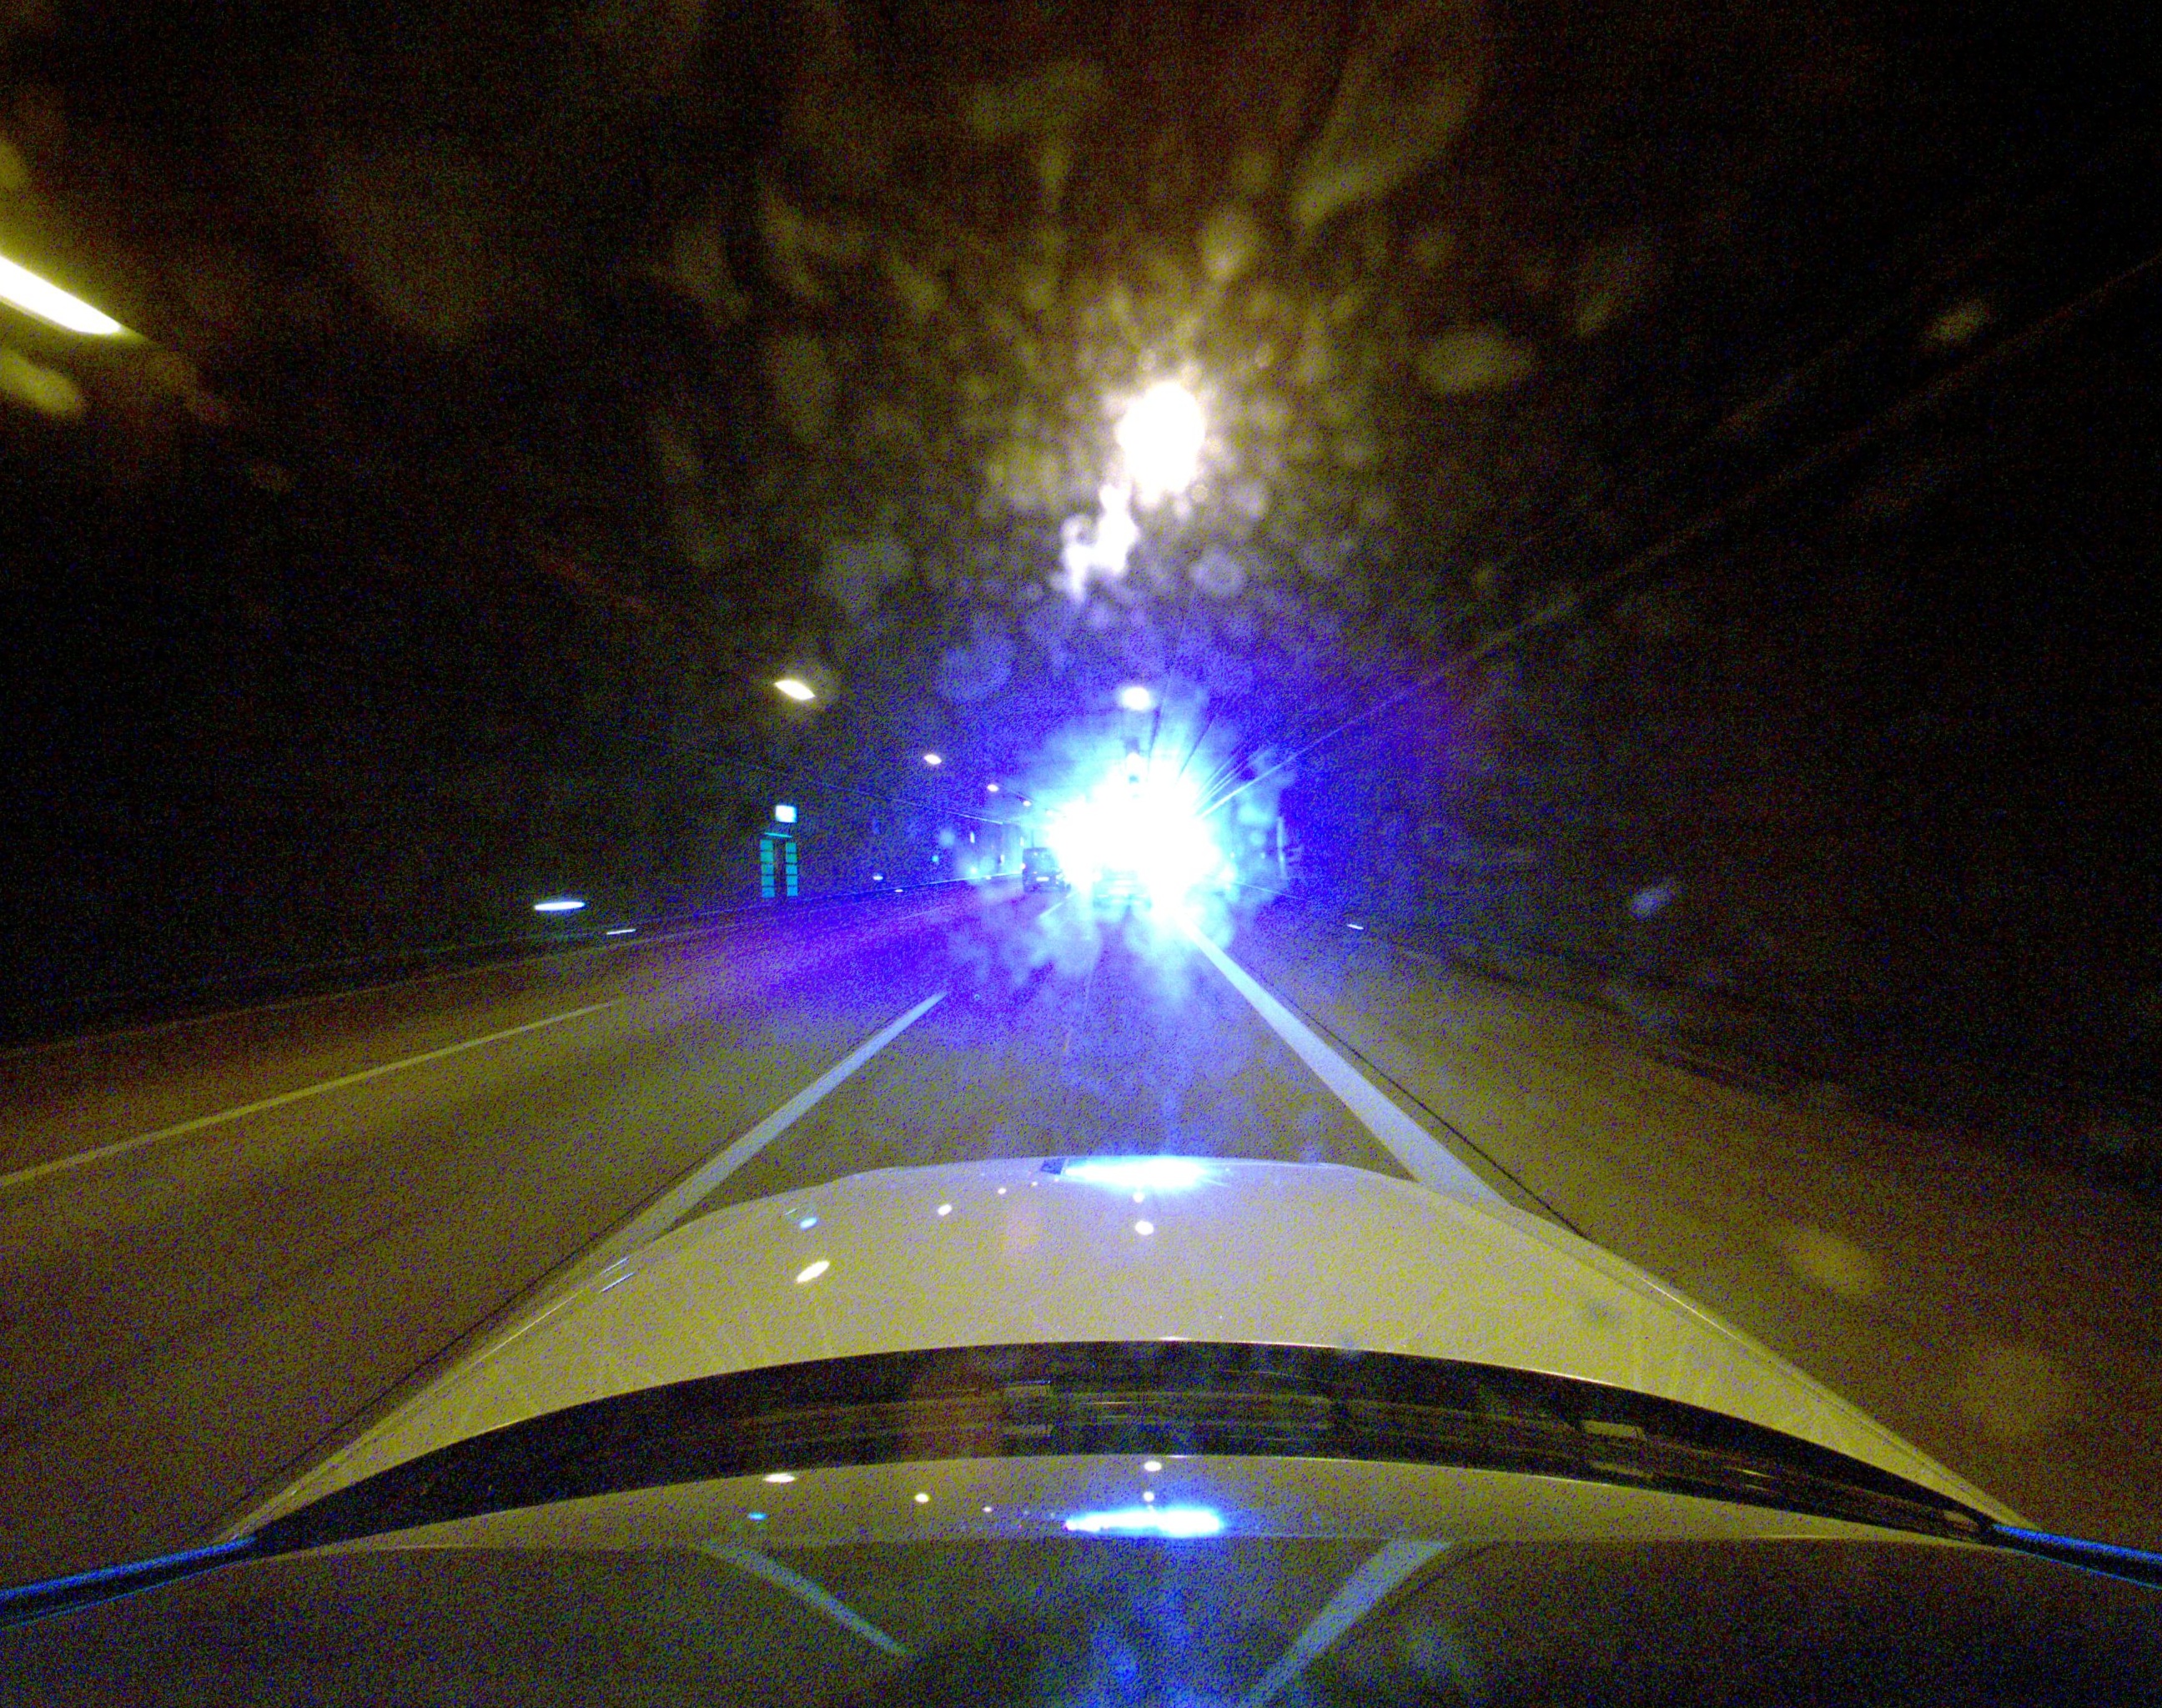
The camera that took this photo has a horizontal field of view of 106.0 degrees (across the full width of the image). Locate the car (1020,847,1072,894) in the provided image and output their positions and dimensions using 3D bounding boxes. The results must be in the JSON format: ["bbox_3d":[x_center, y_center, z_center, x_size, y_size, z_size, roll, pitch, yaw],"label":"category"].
[{"bbox_3d":[-1.535,0.712,36.861,1.901,1.944,3.875,-1,0,4],"label":"car"}]

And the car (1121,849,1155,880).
[{"bbox_3d":[3.608,0.647,51.034,1.847,1.854,4.008,-1,0,7],"label":"car"}]

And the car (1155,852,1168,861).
[{"bbox_3d":[15.397,0.562,156.205,1.980,1.632,4.013,-1,-2,12],"label":"car"}]

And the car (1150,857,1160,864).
[{"bbox_3d":[18.621,1.583,205.042,1.918,1.642,4.013,-1,0,12],"label":"car"}]

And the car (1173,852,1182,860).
[{"bbox_3d":[24.250,0.520,204.592,1.980,1.632,4.012,-1,-2,11],"label":"car"}]

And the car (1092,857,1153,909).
[{"bbox_3d":[1.338,0.847,25.538,1.735,1.464,3.875,-1,0,4],"label":"car"}]

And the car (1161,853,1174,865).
[{"bbox_3d":[13.185,0.757,123.706,1.920,1.643,4.006,-2,-3,6],"label":"car"}]

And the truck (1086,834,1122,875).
[{"bbox_3d":[2.287,0.058,78.229,3.025,3.673,7.401,-1,0,4],"label":"truck"}]

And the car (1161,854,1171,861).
[{"bbox_3d":[22.681,0.865,216.814,1.917,1.643,4.014,-2,-3,13],"label":"car"}]

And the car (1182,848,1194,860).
[{"bbox_3d":[20.132,0.096,153.396,1.982,2.014,4.009,-2,-3,9],"label":"car"}]
